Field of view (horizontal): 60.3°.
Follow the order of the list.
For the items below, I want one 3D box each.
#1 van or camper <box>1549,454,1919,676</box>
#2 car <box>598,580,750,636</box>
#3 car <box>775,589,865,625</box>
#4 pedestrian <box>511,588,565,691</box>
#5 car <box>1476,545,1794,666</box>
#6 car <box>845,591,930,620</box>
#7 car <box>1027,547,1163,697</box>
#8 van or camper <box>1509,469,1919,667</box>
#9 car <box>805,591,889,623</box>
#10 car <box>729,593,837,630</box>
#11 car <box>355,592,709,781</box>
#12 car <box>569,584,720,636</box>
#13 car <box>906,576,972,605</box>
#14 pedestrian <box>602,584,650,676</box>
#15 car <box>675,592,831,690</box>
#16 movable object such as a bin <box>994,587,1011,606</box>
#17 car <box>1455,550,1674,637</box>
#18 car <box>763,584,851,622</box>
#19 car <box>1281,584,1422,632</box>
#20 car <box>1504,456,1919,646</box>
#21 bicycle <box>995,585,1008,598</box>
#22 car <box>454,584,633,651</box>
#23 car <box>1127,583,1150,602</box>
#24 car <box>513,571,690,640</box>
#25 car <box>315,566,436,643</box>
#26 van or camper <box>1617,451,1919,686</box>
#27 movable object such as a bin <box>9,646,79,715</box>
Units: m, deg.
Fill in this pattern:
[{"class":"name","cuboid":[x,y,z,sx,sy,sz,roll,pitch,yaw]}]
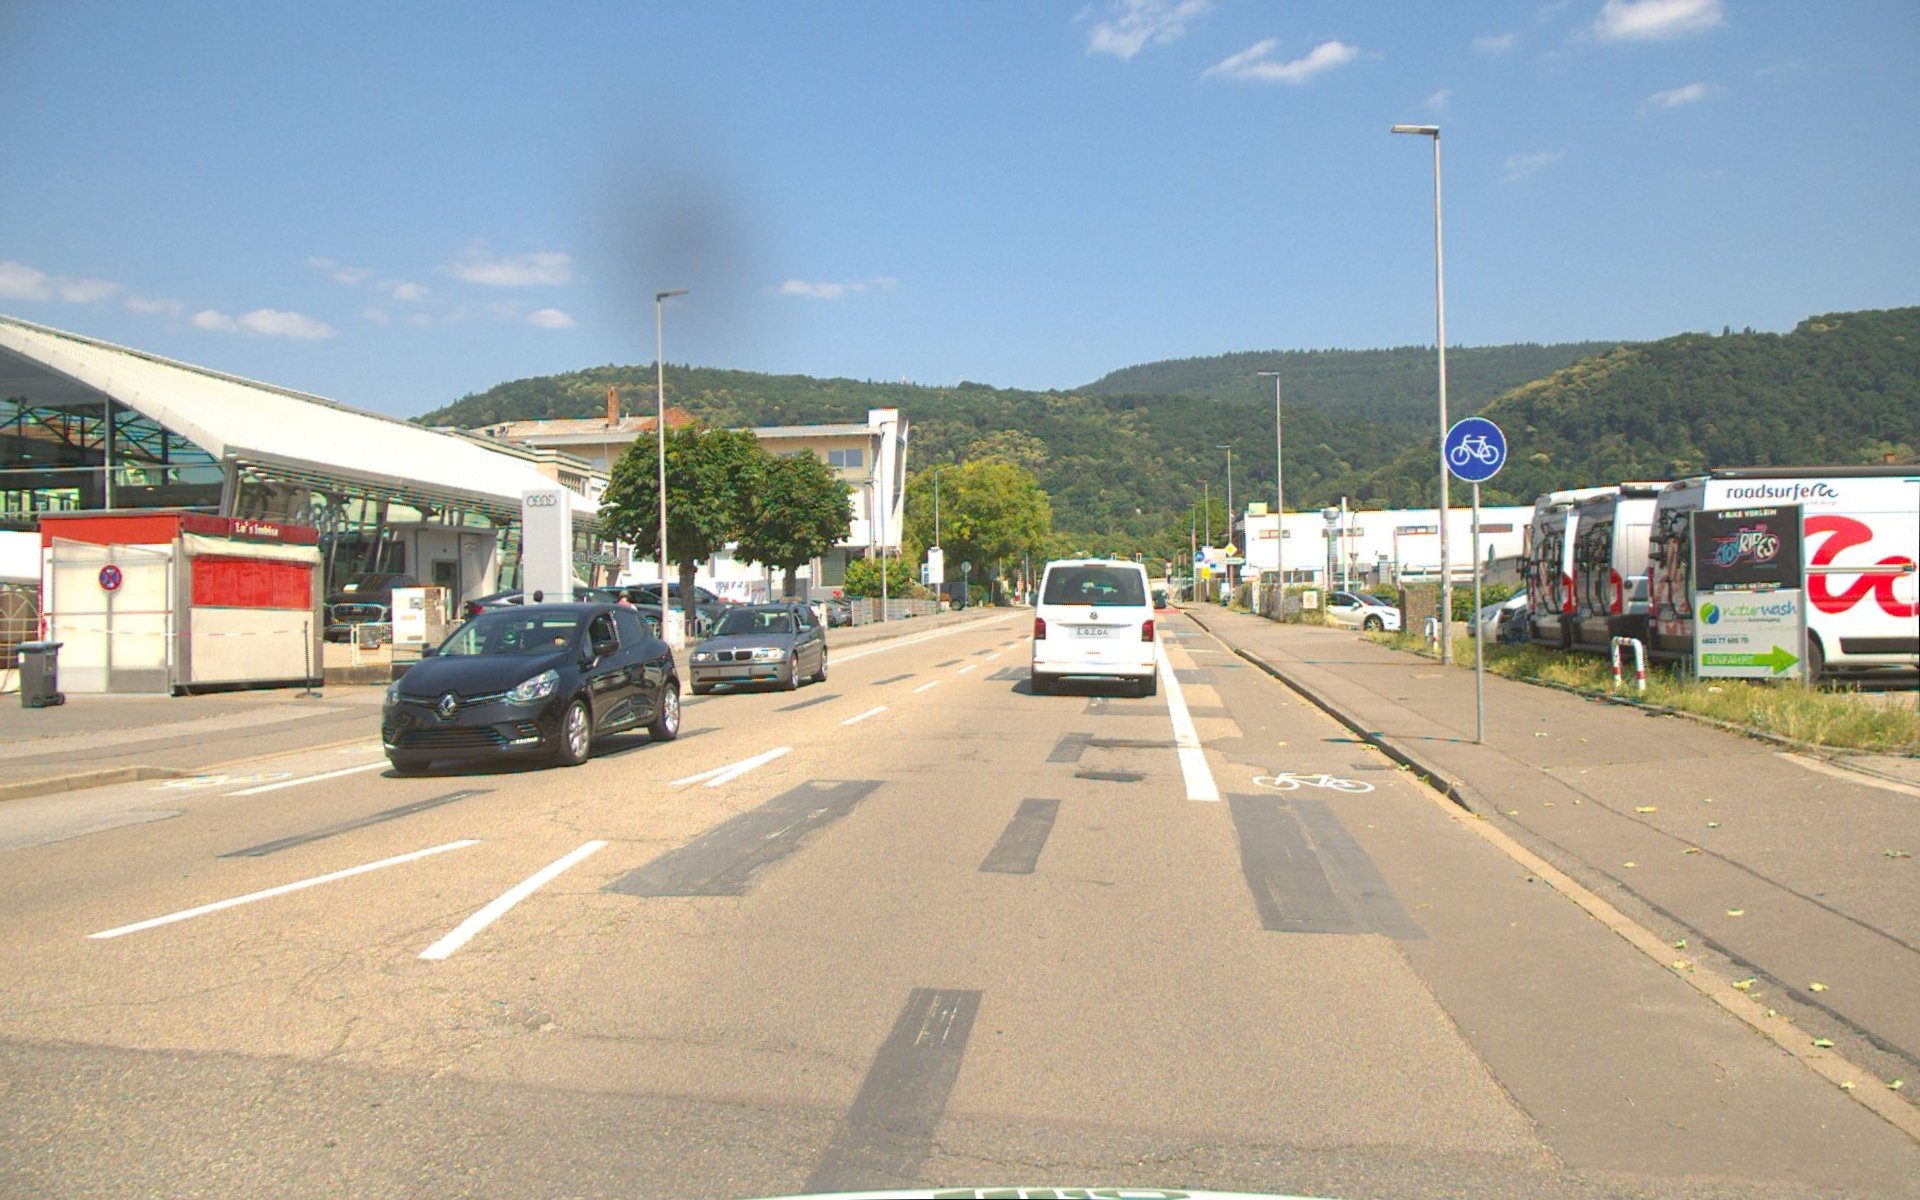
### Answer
[{"class":"van or camper","cuboid":[11.663,-0.481,22.727,6.214,2.763,2.714,-2,0,6]},{"class":"car","cuboid":[-9.236,0.237,53.522,4.516,1.726,1.841,-1,0,-30]},{"class":"car","cuboid":[-6.551,0.336,77.735,3.903,1.468,1.860,3,-2,4]},{"class":"pedestrian","cuboid":[-7.870,0.719,30.867,0.708,1.881,0.912,-2,0,2]},{"class":"car","cuboid":[12.576,0.096,31.125,5.123,1.986,2.001,-2,0,6]},{"class":"car","cuboid":[-4.186,0.307,95.603,4.639,1.507,2.049,-2,0,5]},{"class":"car","cuboid":[2.108,0.302,25.902,1.894,2.095,4.547,1,0,5]},{"class":"van or camper","cuboid":[12.017,-0.479,25.580,6.214,2.747,2.714,-2,0,6]},{"class":"car","cuboid":[-5.981,0.355,87.704,4.207,1.586,1.996,-2,0,2]},{"class":"car","cuboid":[-7.804,0.514,73.046,4.429,1.483,1.901,-2,0,4]},{"class":"car","cuboid":[-3.893,0.718,15.852,1.625,1.480,4.244,-3,0,10]},{"class":"car","cuboid":[-9.520,0.316,49.930,4.144,1.521,1.856,1,-1,-30]},{"class":"car","cuboid":[-1.458,-0.665,115.231,4.471,1.898,2.093,-1,0,1]},{"class":"pedestrian","cuboid":[-7.029,0.620,34.846,0.717,1.900,1.047,-2,0,0]},{"class":"car","cuboid":[-3.390,0.634,27.898,1.705,1.429,4.327,-3,0,5]},{"class":"movable object such as a bin","cuboid":[3.896,-0.315,152.410,1.419,1.618,1.307,-2,0,-2]},{"class":"car","cuboid":[12.229,-0.127,33.642,3.838,1.621,1.799,-1,0,6]},{"class":"car","cuboid":[-6.945,0.144,75.366,3.812,1.470,1.822,3,-2,-2]},{"class":"car","cuboid":[14.747,0.307,62.516,2.005,1.650,4.972,5,-4,-41]},{"class":"car","cuboid":[12.763,-0.798,28.361,6.096,2.919,2.322,-2,0,6]},{"class":"bicycle","cuboid":[3.565,-0.751,142.900,1.005,1.137,2.767,1,0,3]},{"class":"car","cuboid":[-10.655,0.467,42.327,4.096,1.485,1.892,4,-2,-26]},{"class":"car","cuboid":[16.849,-0.707,156.204,1.952,1.780,4.002,-2,0,3]},{"class":"car","cuboid":[-9.972,0.160,46.064,4.419,1.636,1.947,2,3,-30]},{"class":"car","cuboid":[-14.571,0.109,41.518,1.957,1.749,4.722,2,0,-9]},{"class":"van or camper","cuboid":[11.362,-0.403,19.681,6.064,2.568,2.621,-2,0,6]},{"class":"movable object such as a bin","cuboid":[-13.228,1.152,23.897,0.559,0.939,0.690,1,1,19]}]
